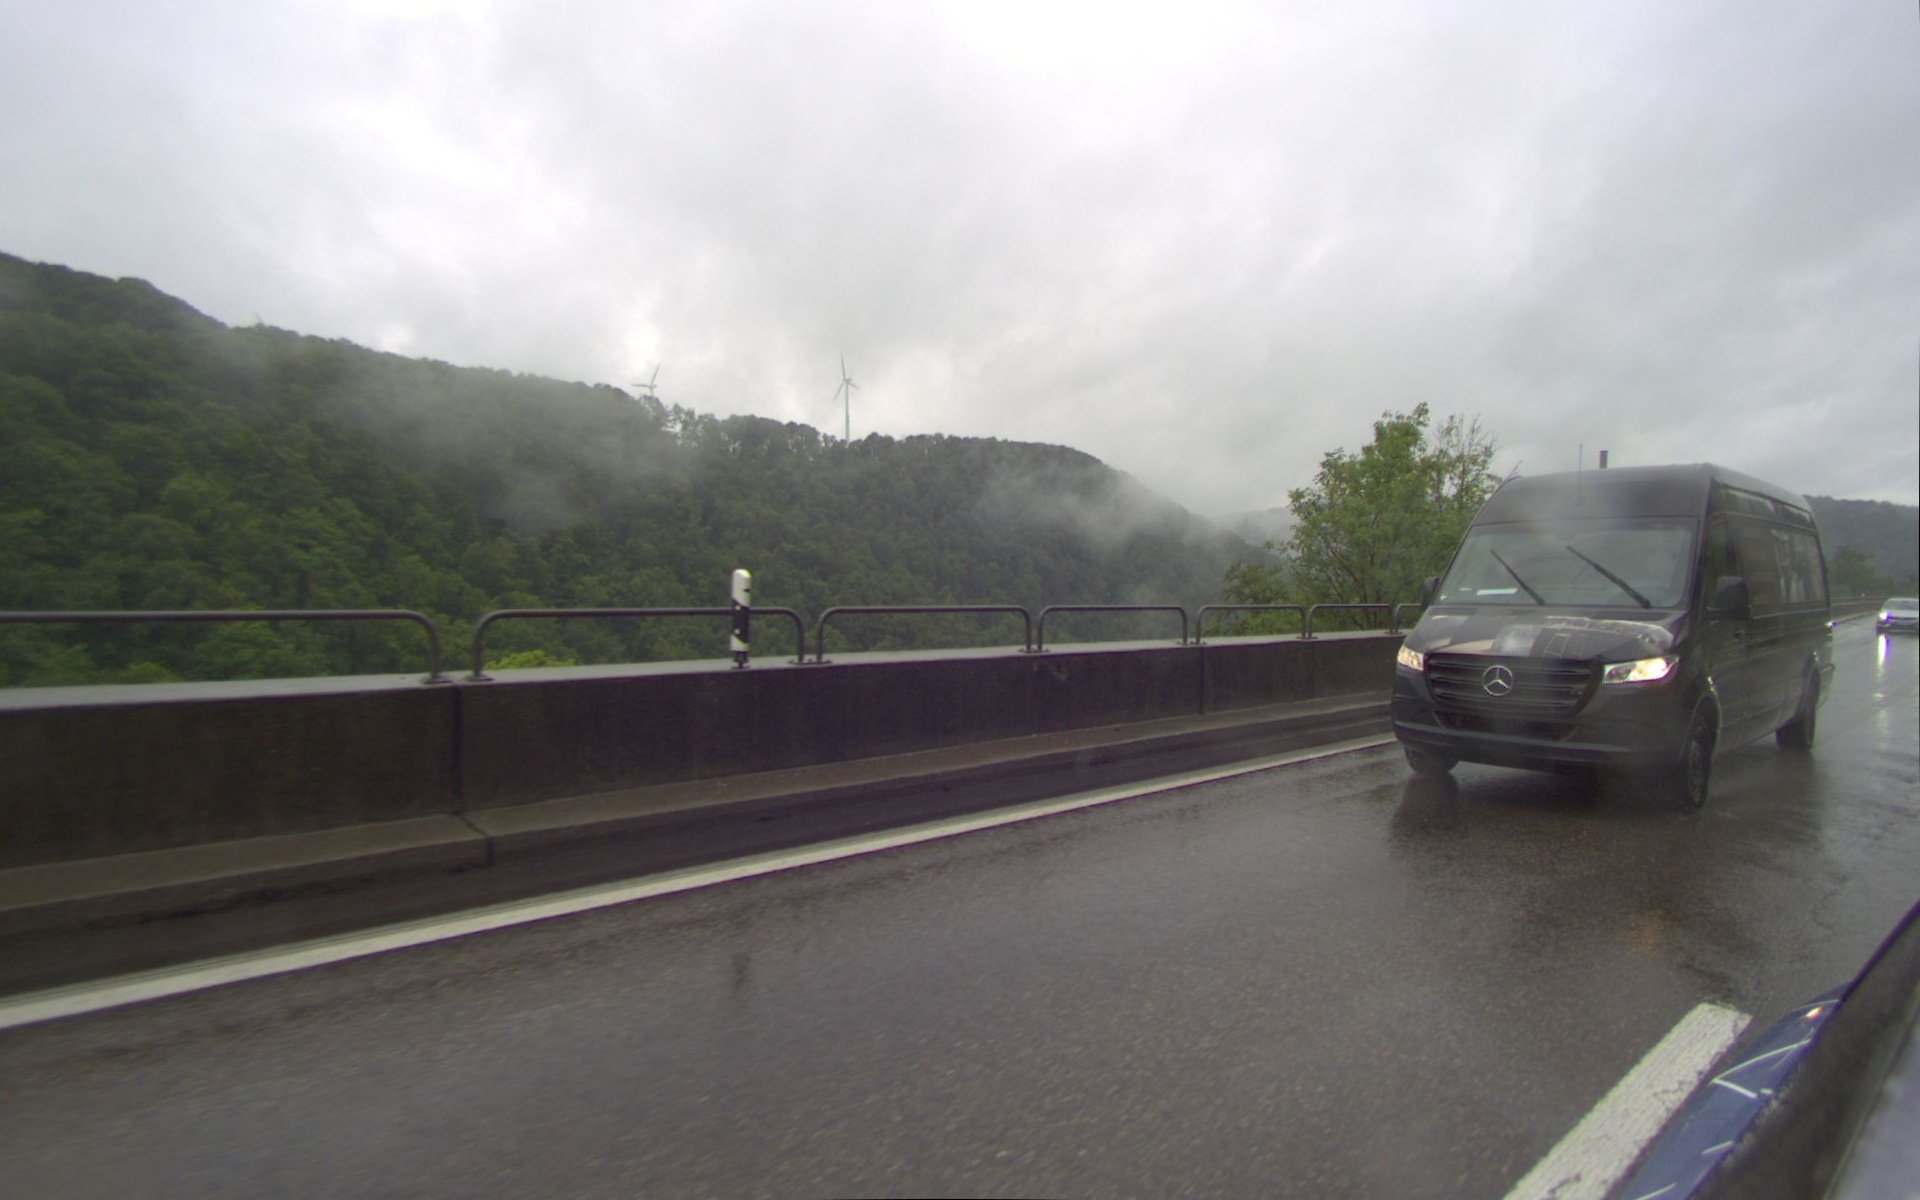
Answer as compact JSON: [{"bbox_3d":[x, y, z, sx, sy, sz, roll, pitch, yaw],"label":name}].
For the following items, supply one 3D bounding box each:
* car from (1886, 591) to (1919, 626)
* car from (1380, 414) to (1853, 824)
[{"bbox_3d":[41.923,0.347,44.086,4.487,1.433,1.988,0,1,-43],"label":"car"},{"bbox_3d":[6.317,0.096,9.205,6.590,2.525,1.996,0,1,-42],"label":"car"}]
